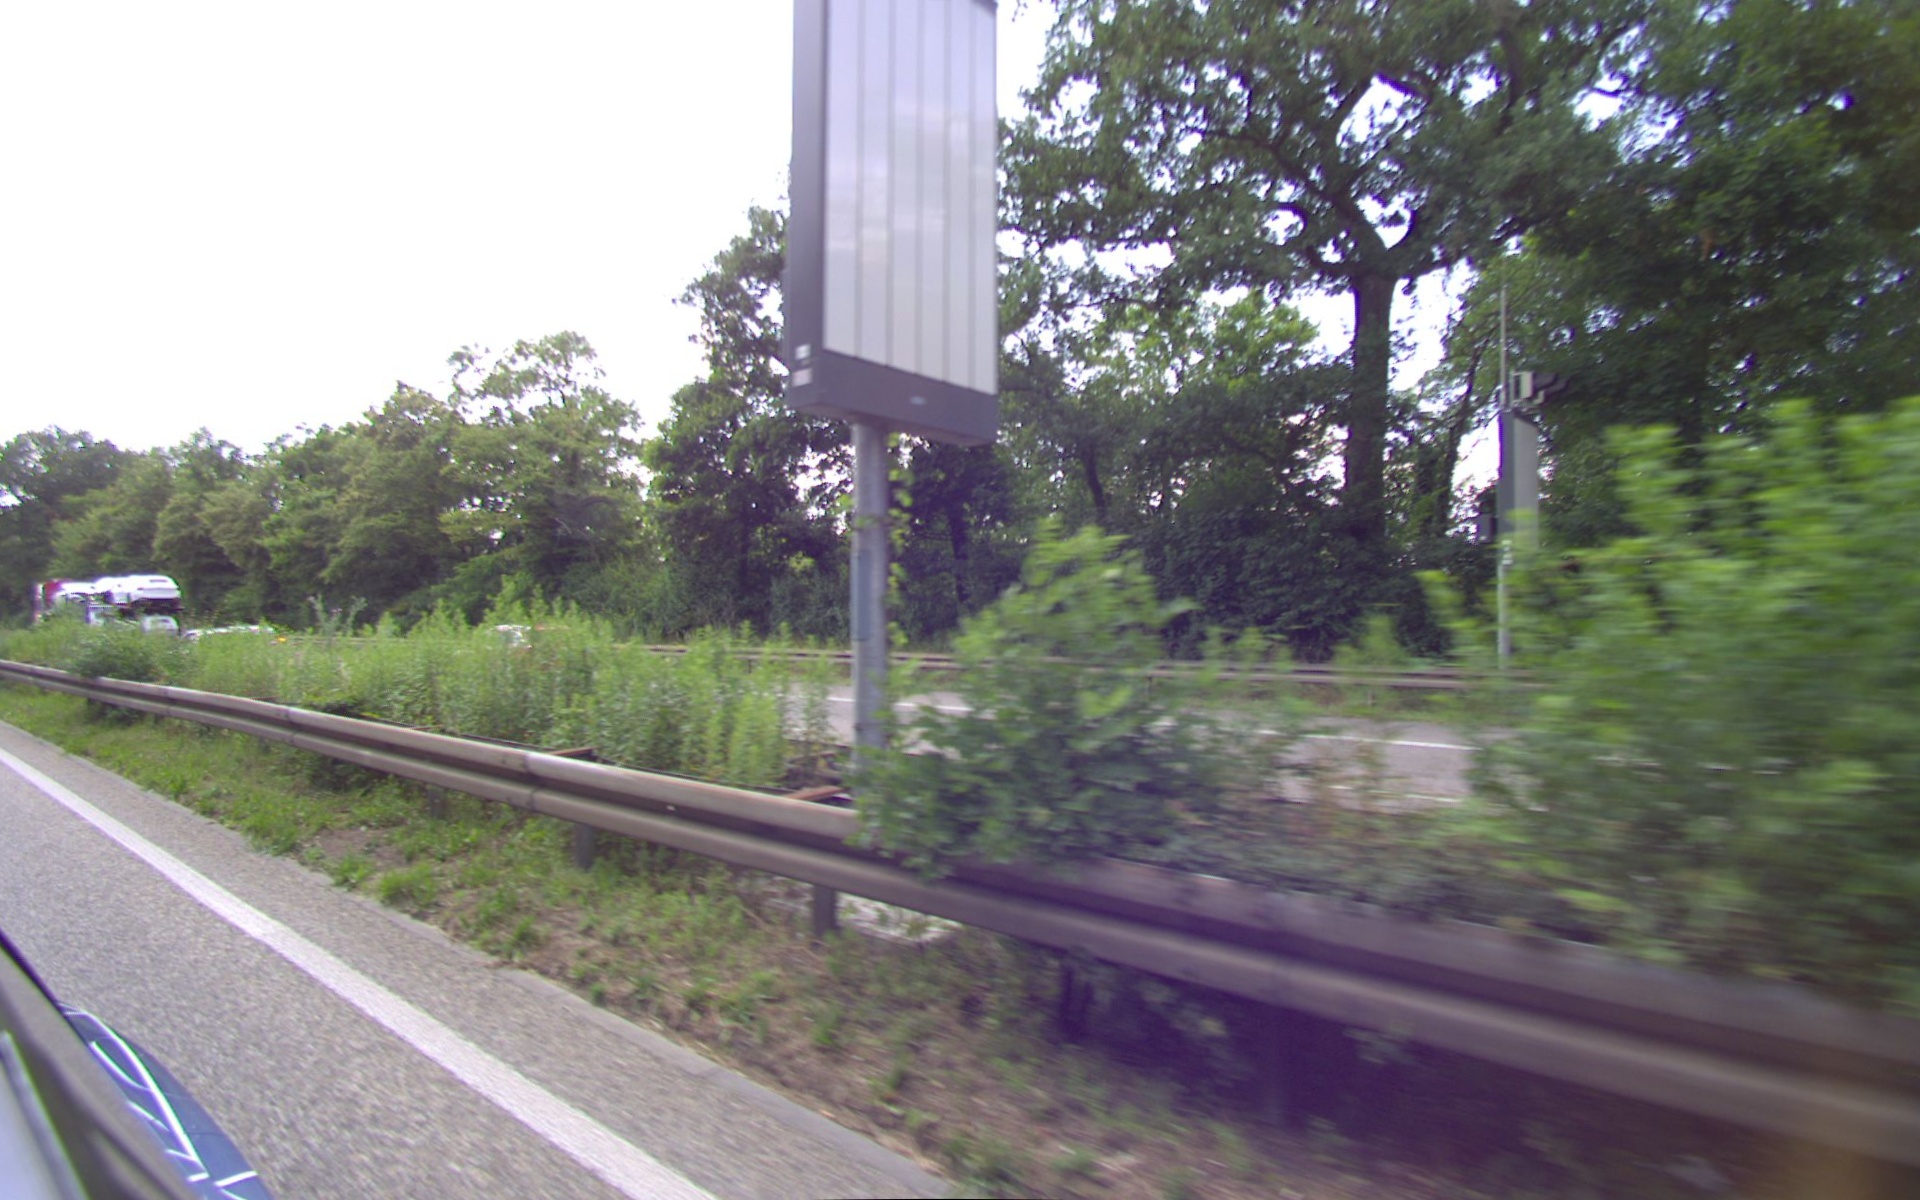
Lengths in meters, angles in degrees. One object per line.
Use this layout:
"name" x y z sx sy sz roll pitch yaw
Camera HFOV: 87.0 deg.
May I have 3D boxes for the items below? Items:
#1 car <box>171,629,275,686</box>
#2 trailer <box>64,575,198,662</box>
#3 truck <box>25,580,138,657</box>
"car" -20.286 1.538 27.822 3.321 1.434 1.598 -1 -2 41
"trailer" -40.453 0.926 49.239 10.297 3.862 2.909 -1 -2 39
"truck" -48.511 1.041 55.729 10.312 3.885 2.926 -1 -2 39
